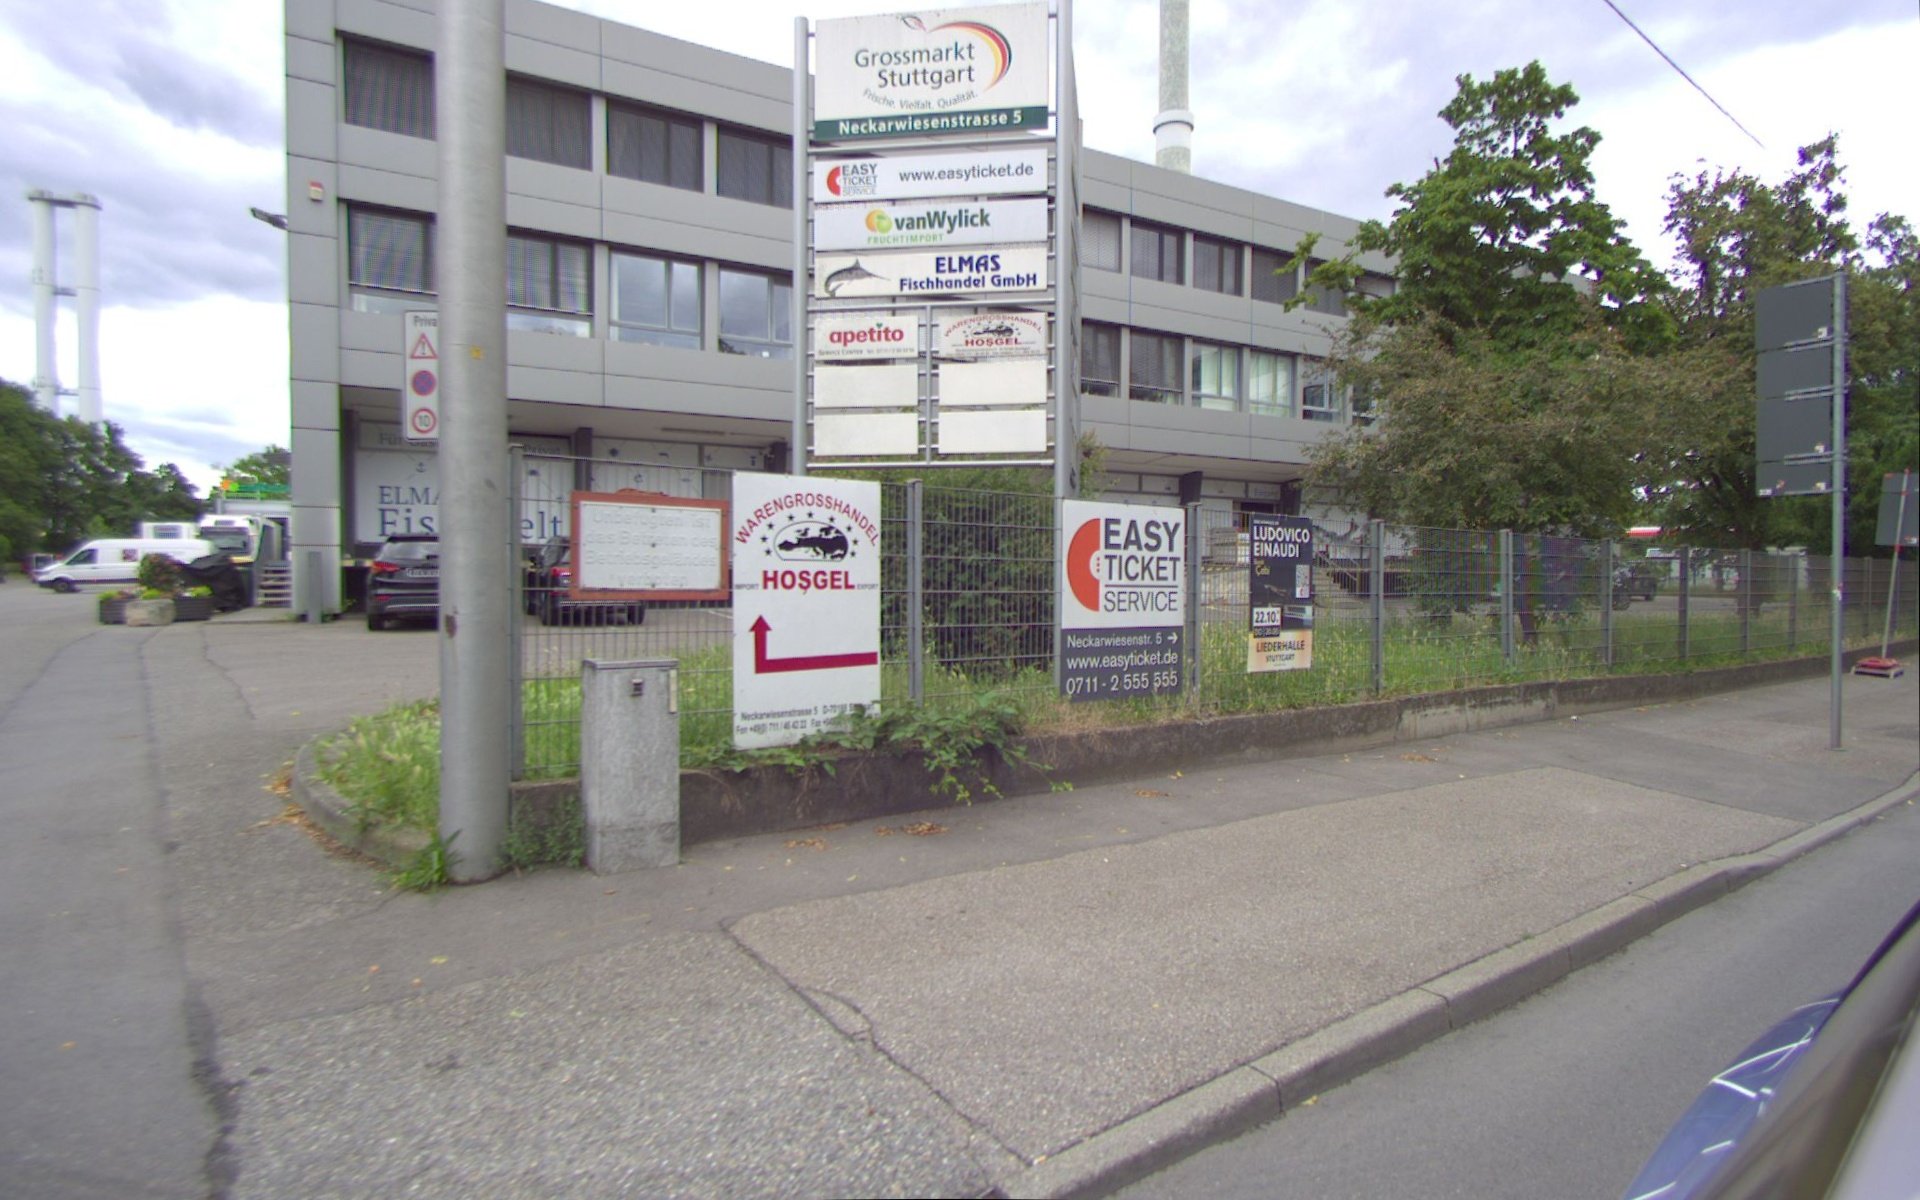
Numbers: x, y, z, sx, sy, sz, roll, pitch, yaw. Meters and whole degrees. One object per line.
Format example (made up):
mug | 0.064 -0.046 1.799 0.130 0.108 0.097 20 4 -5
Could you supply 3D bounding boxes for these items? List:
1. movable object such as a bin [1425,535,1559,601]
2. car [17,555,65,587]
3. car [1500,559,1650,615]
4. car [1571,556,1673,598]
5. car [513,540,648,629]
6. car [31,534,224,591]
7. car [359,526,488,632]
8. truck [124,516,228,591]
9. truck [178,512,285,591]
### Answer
movable object such as a bin | 19.911 -1.214 38.022 1.914 2.333 4.003 0 2 -33
car | -67.270 -2.124 74.154 1.793 2.304 4.247 0 2 -31
car | 18.150 -0.459 30.166 1.965 1.492 4.687 1 3 6
car | 28.493 -0.982 43.548 4.355 1.585 2.002 0 4 -33
car | -7.496 -0.325 19.776 1.794 1.553 3.716 0 2 -32
car | -40.173 -1.753 49.163 6.818 2.585 2.704 0 1 -28
car | -9.779 -0.394 18.305 1.822 1.694 3.716 0 2 -32
truck | -52.311 -3.031 67.936 3.166 4.520 12.951 0 2 -27
truck | -42.448 -2.754 59.454 3.166 4.129 12.951 0 2 -27
